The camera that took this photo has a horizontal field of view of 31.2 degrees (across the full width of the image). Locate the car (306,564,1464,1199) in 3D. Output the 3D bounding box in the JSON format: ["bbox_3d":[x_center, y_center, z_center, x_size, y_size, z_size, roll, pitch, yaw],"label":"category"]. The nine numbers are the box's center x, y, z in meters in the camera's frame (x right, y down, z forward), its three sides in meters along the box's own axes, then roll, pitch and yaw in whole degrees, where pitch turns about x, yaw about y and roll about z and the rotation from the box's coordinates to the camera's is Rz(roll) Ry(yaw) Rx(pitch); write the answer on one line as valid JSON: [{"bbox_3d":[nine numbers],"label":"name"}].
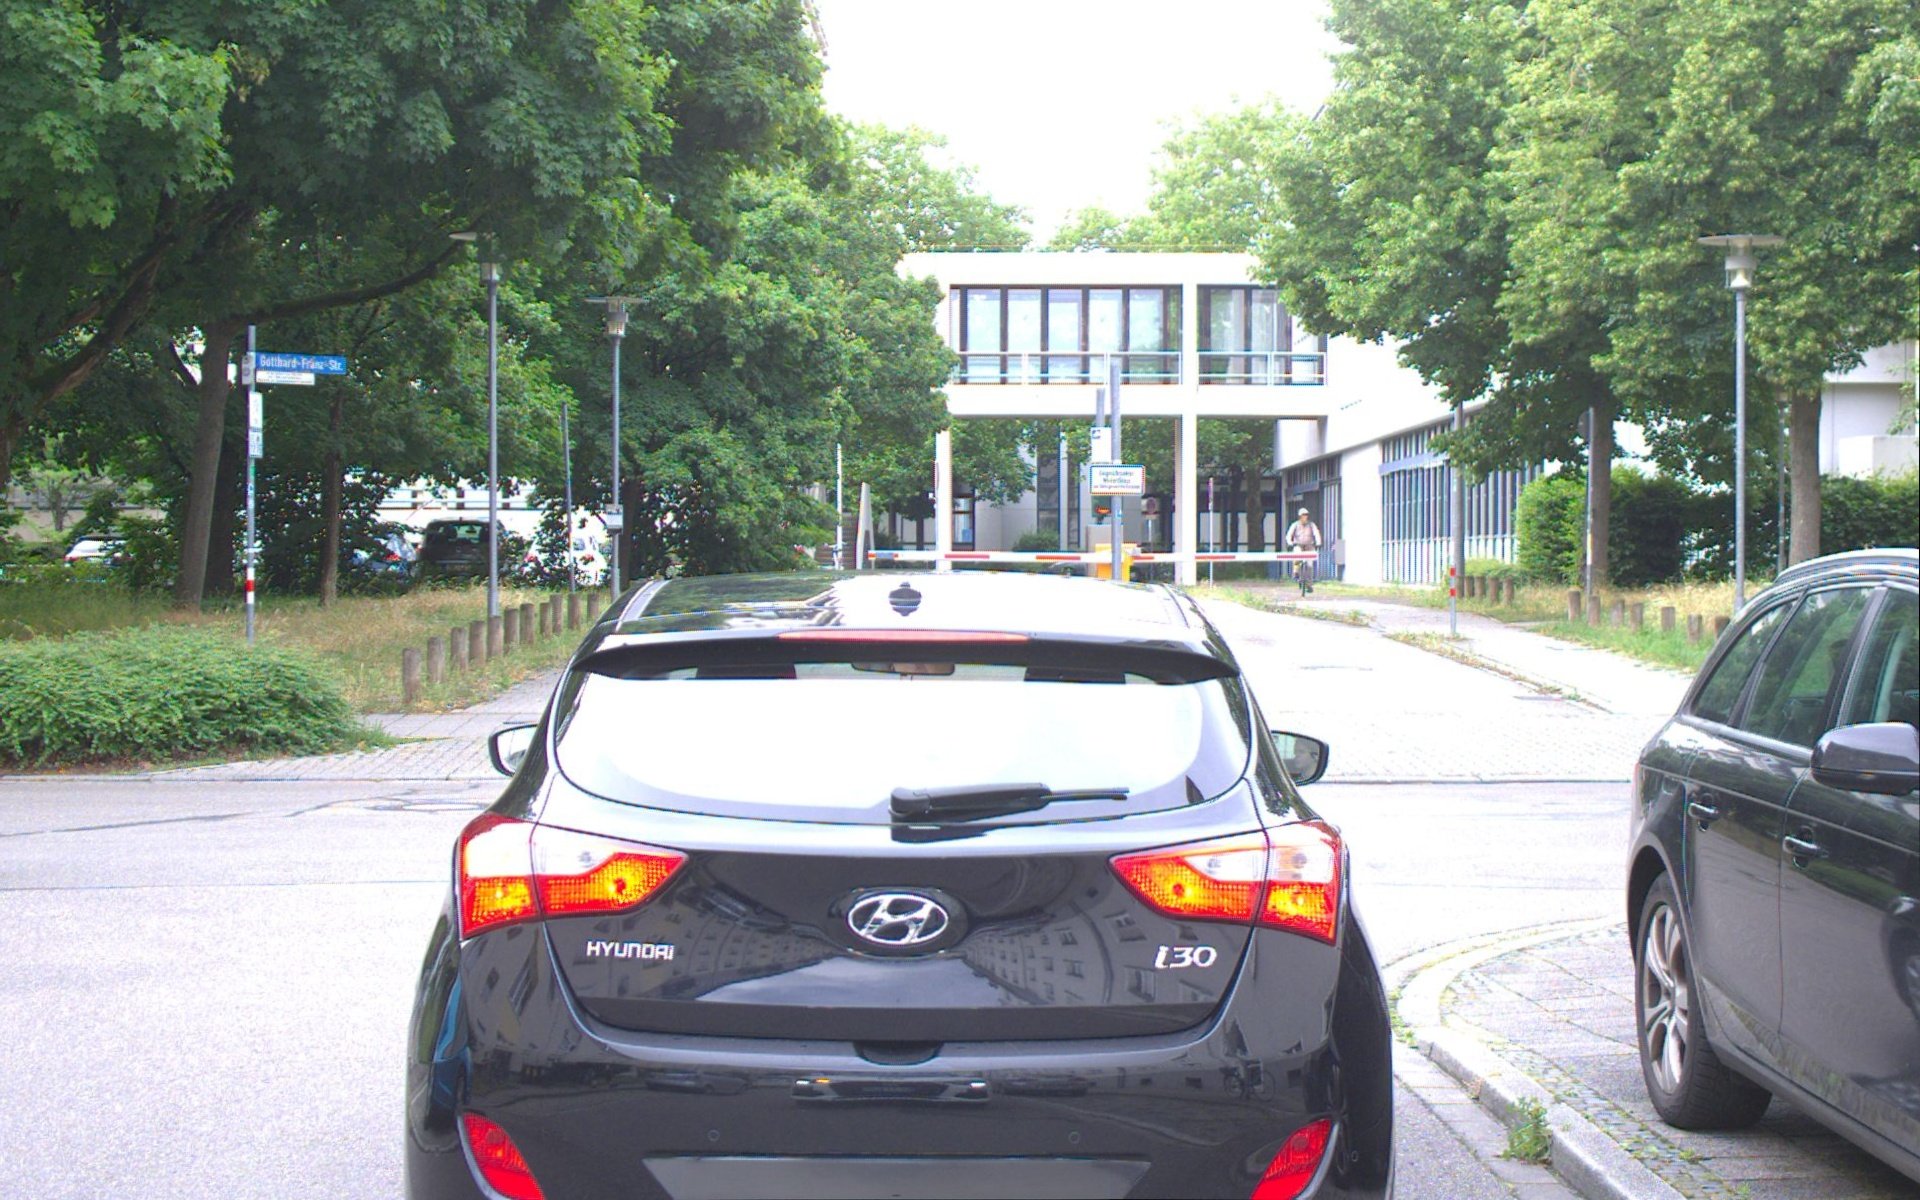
[{"bbox_3d":[-0.208,0.660,7.414,1.846,1.457,3.828,0,1,-3],"label":"car"}]

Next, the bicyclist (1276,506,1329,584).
[{"bbox_3d":[7.190,-1.165,72.248,1.017,1.639,0.923,0,1,1],"label":"bicyclist"}]

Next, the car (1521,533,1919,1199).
[{"bbox_3d":[2.597,0.589,7.204,1.860,1.457,4.726,-1,1,-3],"label":"car"}]

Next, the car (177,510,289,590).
[{"bbox_3d":[-16.593,-1.110,78.618,1.993,1.722,4.000,0,-1,-4],"label":"car"}]

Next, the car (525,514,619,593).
[{"bbox_3d":[-8.893,-1.046,79.012,1.993,1.756,4.001,0,0,-4],"label":"car"}]

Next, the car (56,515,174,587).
[{"bbox_3d":[-19.315,-1.132,78.686,1.993,1.612,4.001,0,1,-4],"label":"car"}]

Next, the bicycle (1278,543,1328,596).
[{"bbox_3d":[7.188,-0.646,72.153,0.866,1.071,2.142,0,1,1],"label":"bicycle"}]

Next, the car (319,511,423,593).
[{"bbox_3d":[-13.489,-1.086,78.948,1.993,1.788,4.000,0,-1,-4],"label":"car"}]
